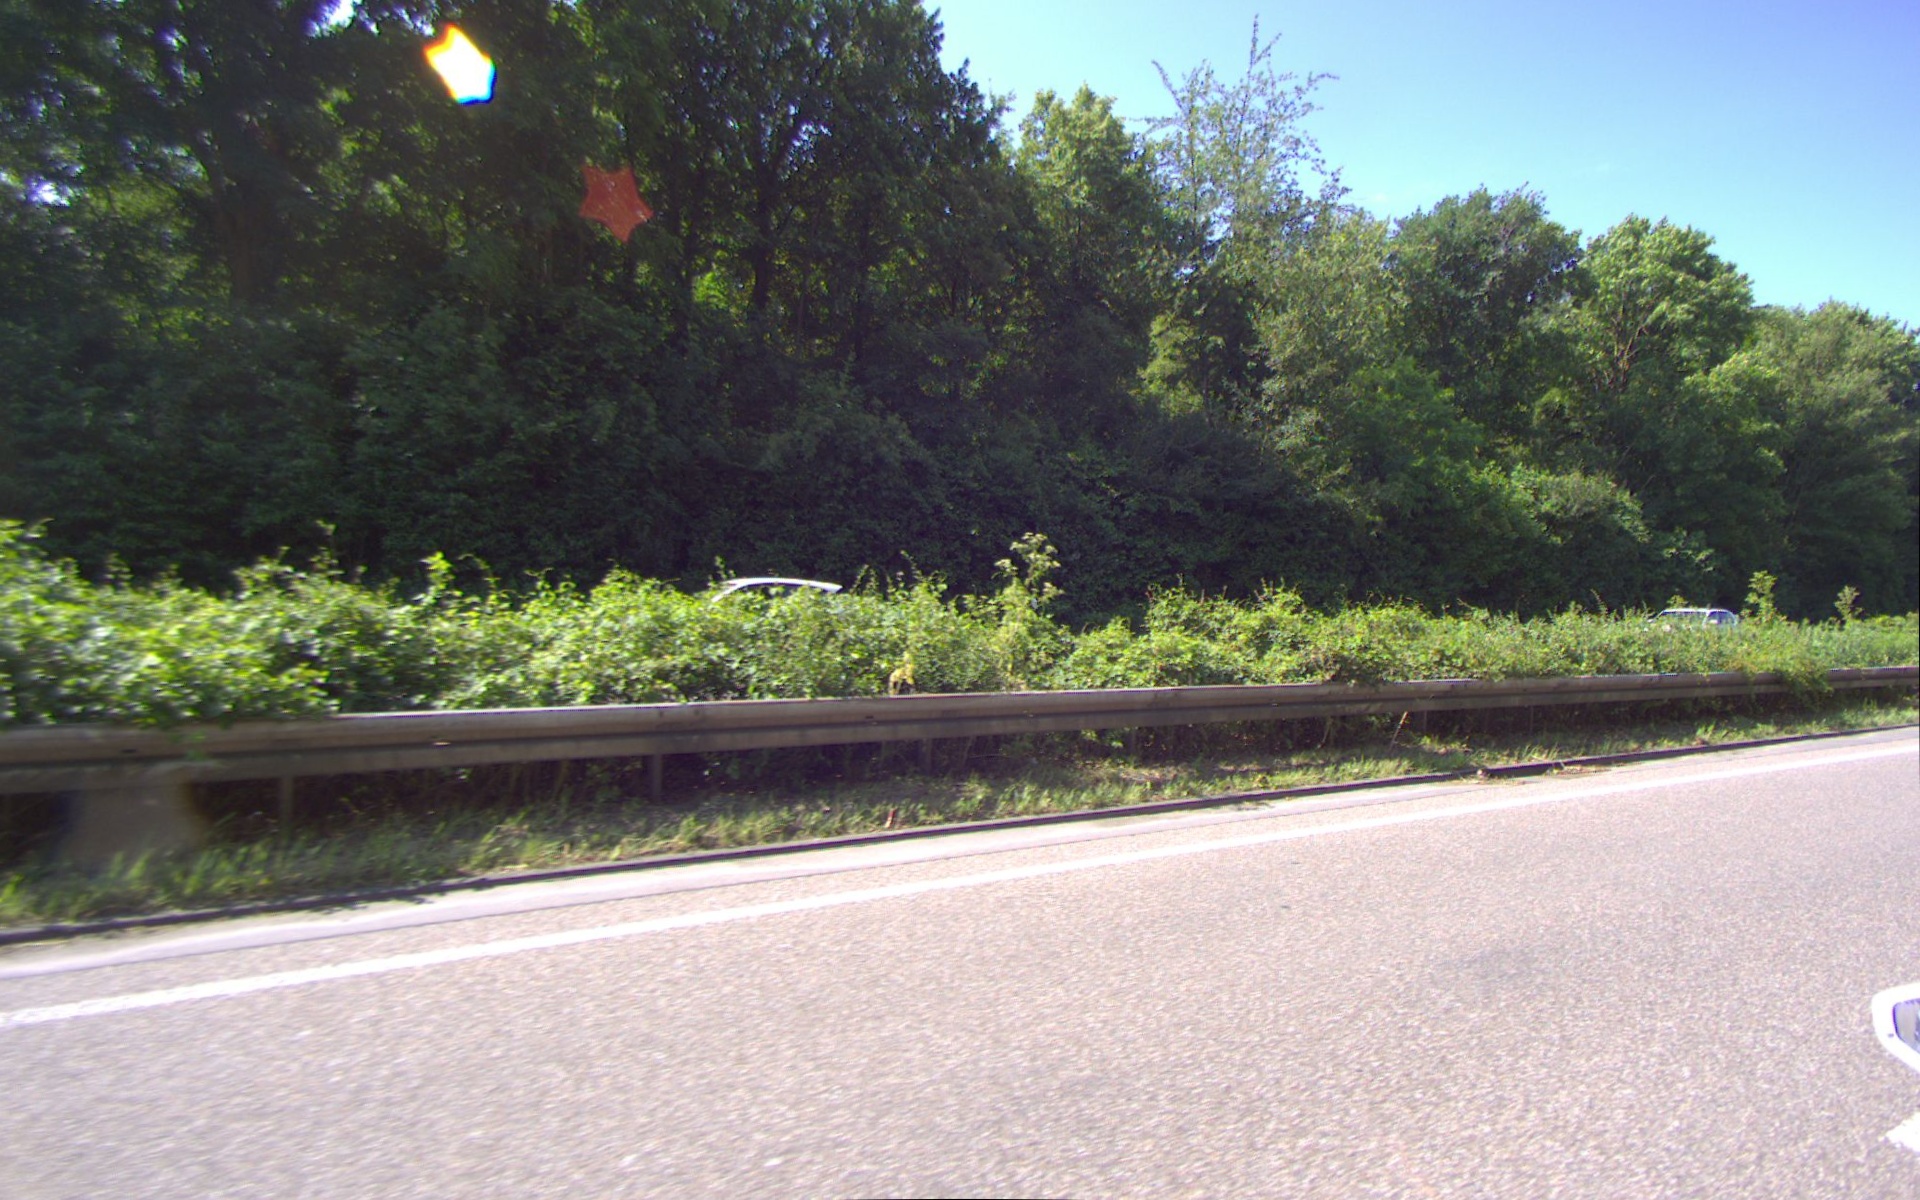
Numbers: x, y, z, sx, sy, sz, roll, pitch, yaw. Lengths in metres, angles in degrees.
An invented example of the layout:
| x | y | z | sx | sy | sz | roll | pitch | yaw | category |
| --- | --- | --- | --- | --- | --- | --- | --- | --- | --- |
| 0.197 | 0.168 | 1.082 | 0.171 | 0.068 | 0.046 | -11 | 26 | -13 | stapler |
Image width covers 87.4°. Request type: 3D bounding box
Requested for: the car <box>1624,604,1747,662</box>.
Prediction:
| x | y | z | sx | sy | sz | roll | pitch | yaw | category |
| --- | --- | --- | --- | --- | --- | --- | --- | --- | --- |
| 22.534 | 1.022 | 31.171 | 3.955 | 1.684 | 1.684 | 2 | 0 | -31 | car |

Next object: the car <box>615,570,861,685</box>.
| x | y | z | sx | sy | sz | roll | pitch | yaw | category |
| --- | --- | --- | --- | --- | --- | --- | --- | --- | --- |
| -3.374 | 0.416 | 15.397 | 3.346 | 1.587 | 1.540 | 2 | 0 | -31 | car |
